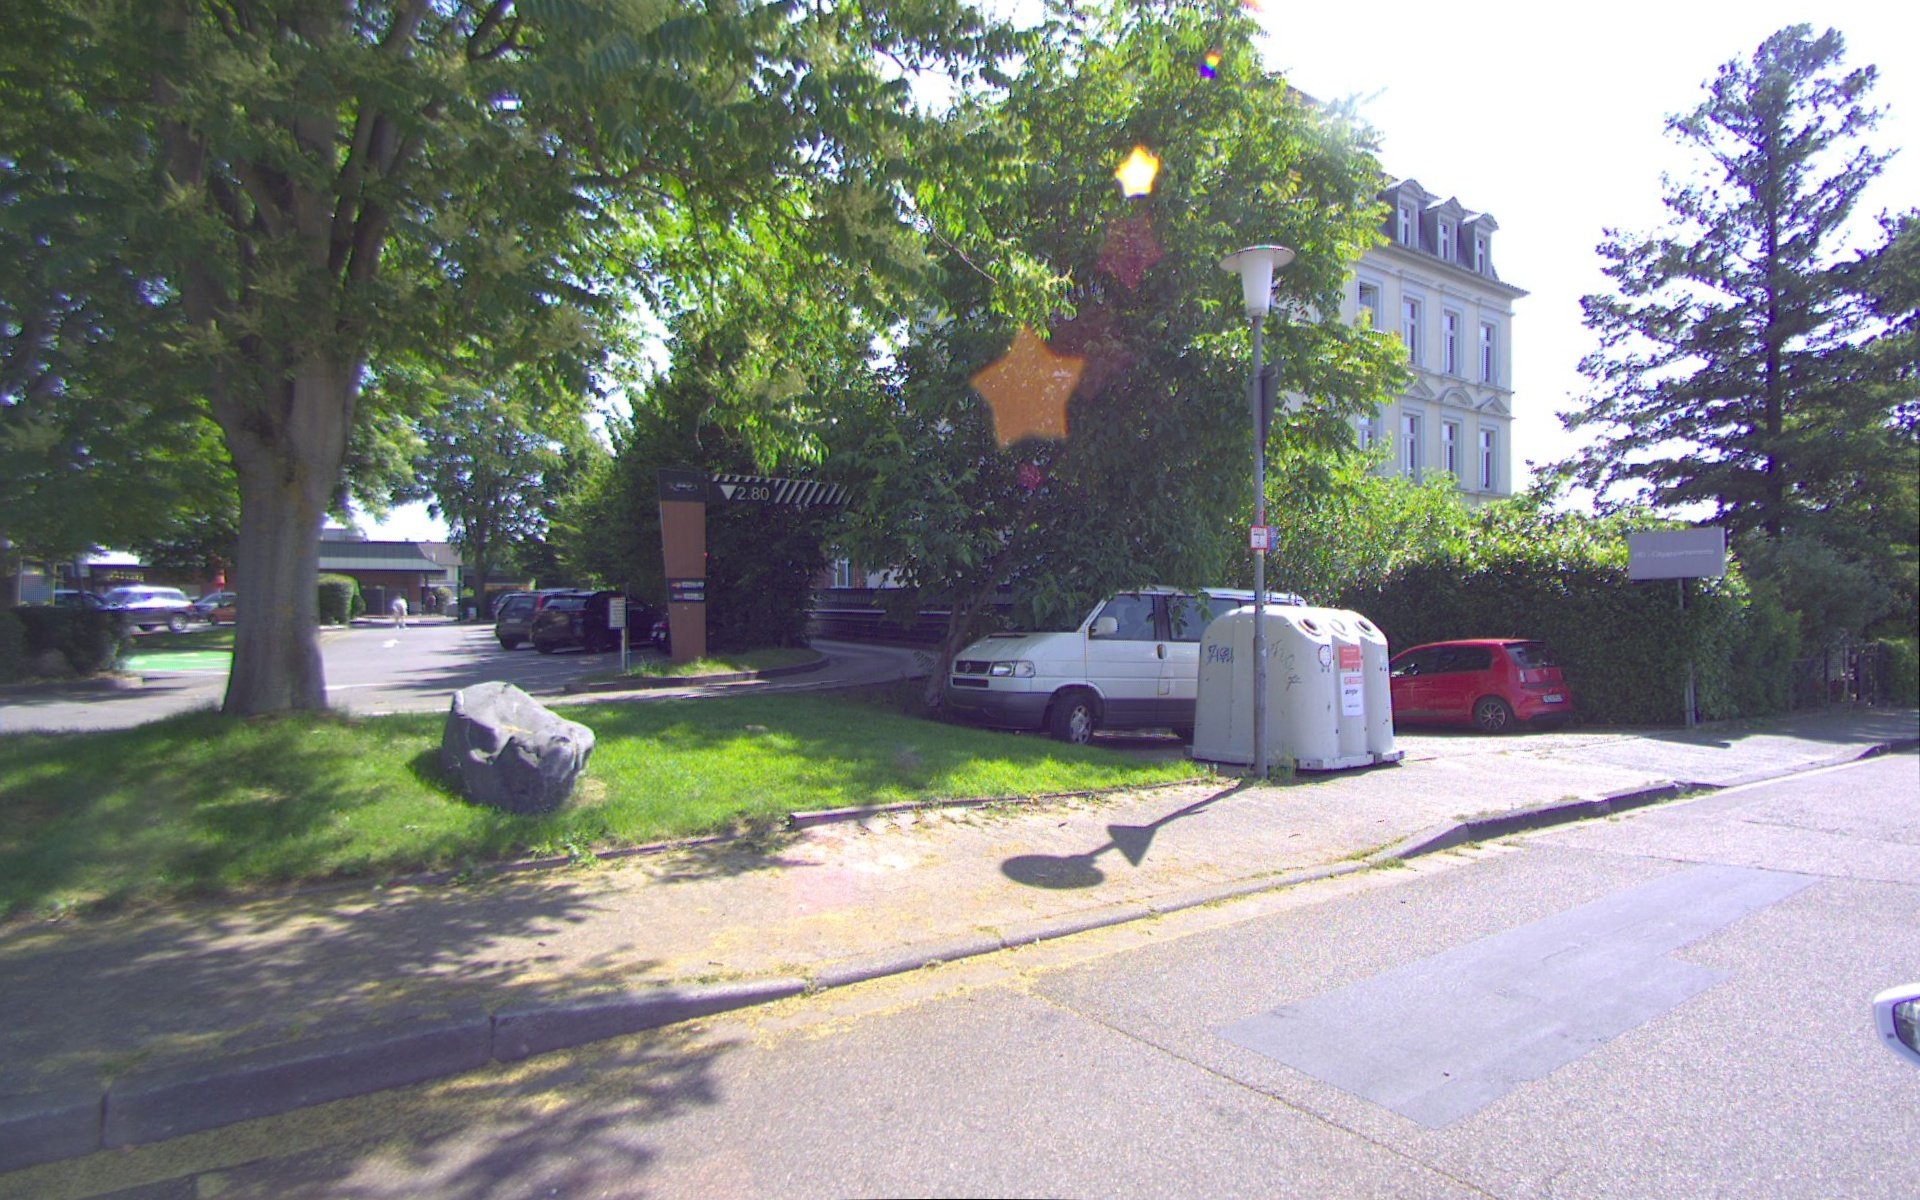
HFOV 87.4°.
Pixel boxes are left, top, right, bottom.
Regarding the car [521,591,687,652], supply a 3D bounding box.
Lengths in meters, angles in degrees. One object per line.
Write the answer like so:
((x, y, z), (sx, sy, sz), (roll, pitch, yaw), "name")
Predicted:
((-8.859, 0.472, 25.371), (1.735, 1.406, 4.094), (0, 1, 21), "car")

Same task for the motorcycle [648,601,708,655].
((-6.443, 0.615, 23.066), (0.558, 1.147, 2.184), (0, 1, 5), "motorcycle")

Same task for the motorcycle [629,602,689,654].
((-7.066, 0.628, 23.703), (0.558, 1.131, 2.184), (0, 1, 5), "motorcycle")

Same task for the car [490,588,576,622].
((-21.264, 0.222, 50.154), (1.784, 1.598, 3.868), (0, 1, 21), "car")

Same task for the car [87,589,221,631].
((-32.357, 0.351, 40.474), (1.867, 1.605, 3.811), (0, 1, 17), "car")

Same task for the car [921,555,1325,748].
((1.975, 0.694, 11.929), (4.466, 1.945, 1.881), (4, -4, -26), "car")

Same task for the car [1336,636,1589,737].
((8.219, 1.390, 16.699), (1.675, 1.485, 3.379), (1, -4, -31), "car")

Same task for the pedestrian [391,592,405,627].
((-24.748, 0.418, 44.230), (0.509, 1.499, 0.532), (0, 1, -28), "pedestrian")

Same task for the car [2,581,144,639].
((-26.579, 0.255, 30.052), (4.946, 1.581, 2.068), (1, 0, 35), "car")

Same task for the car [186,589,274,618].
((-39.940, 0.172, 55.016), (1.589, 1.552, 3.611), (0, 1, 21), "car")

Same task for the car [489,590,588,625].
((-18.404, 0.294, 44.070), (1.759, 1.470, 4.047), (0, 1, 19), "car")

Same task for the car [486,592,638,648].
((-10.831, 0.482, 27.647), (1.595, 1.414, 4.070), (0, 1, 21), "car")

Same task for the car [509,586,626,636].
((-13.355, 0.324, 34.393), (1.611, 1.609, 3.849), (0, 1, 19), "car")

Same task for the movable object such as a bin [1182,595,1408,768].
((3.363, 0.803, 10.103), (1.761, 1.546, 1.439), (3, -5, -39), "movable object such as a bin")

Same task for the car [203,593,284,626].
((-37.133, 0.459, 52.071), (3.651, 1.654, 1.668), (0, 1, 21), "car")
